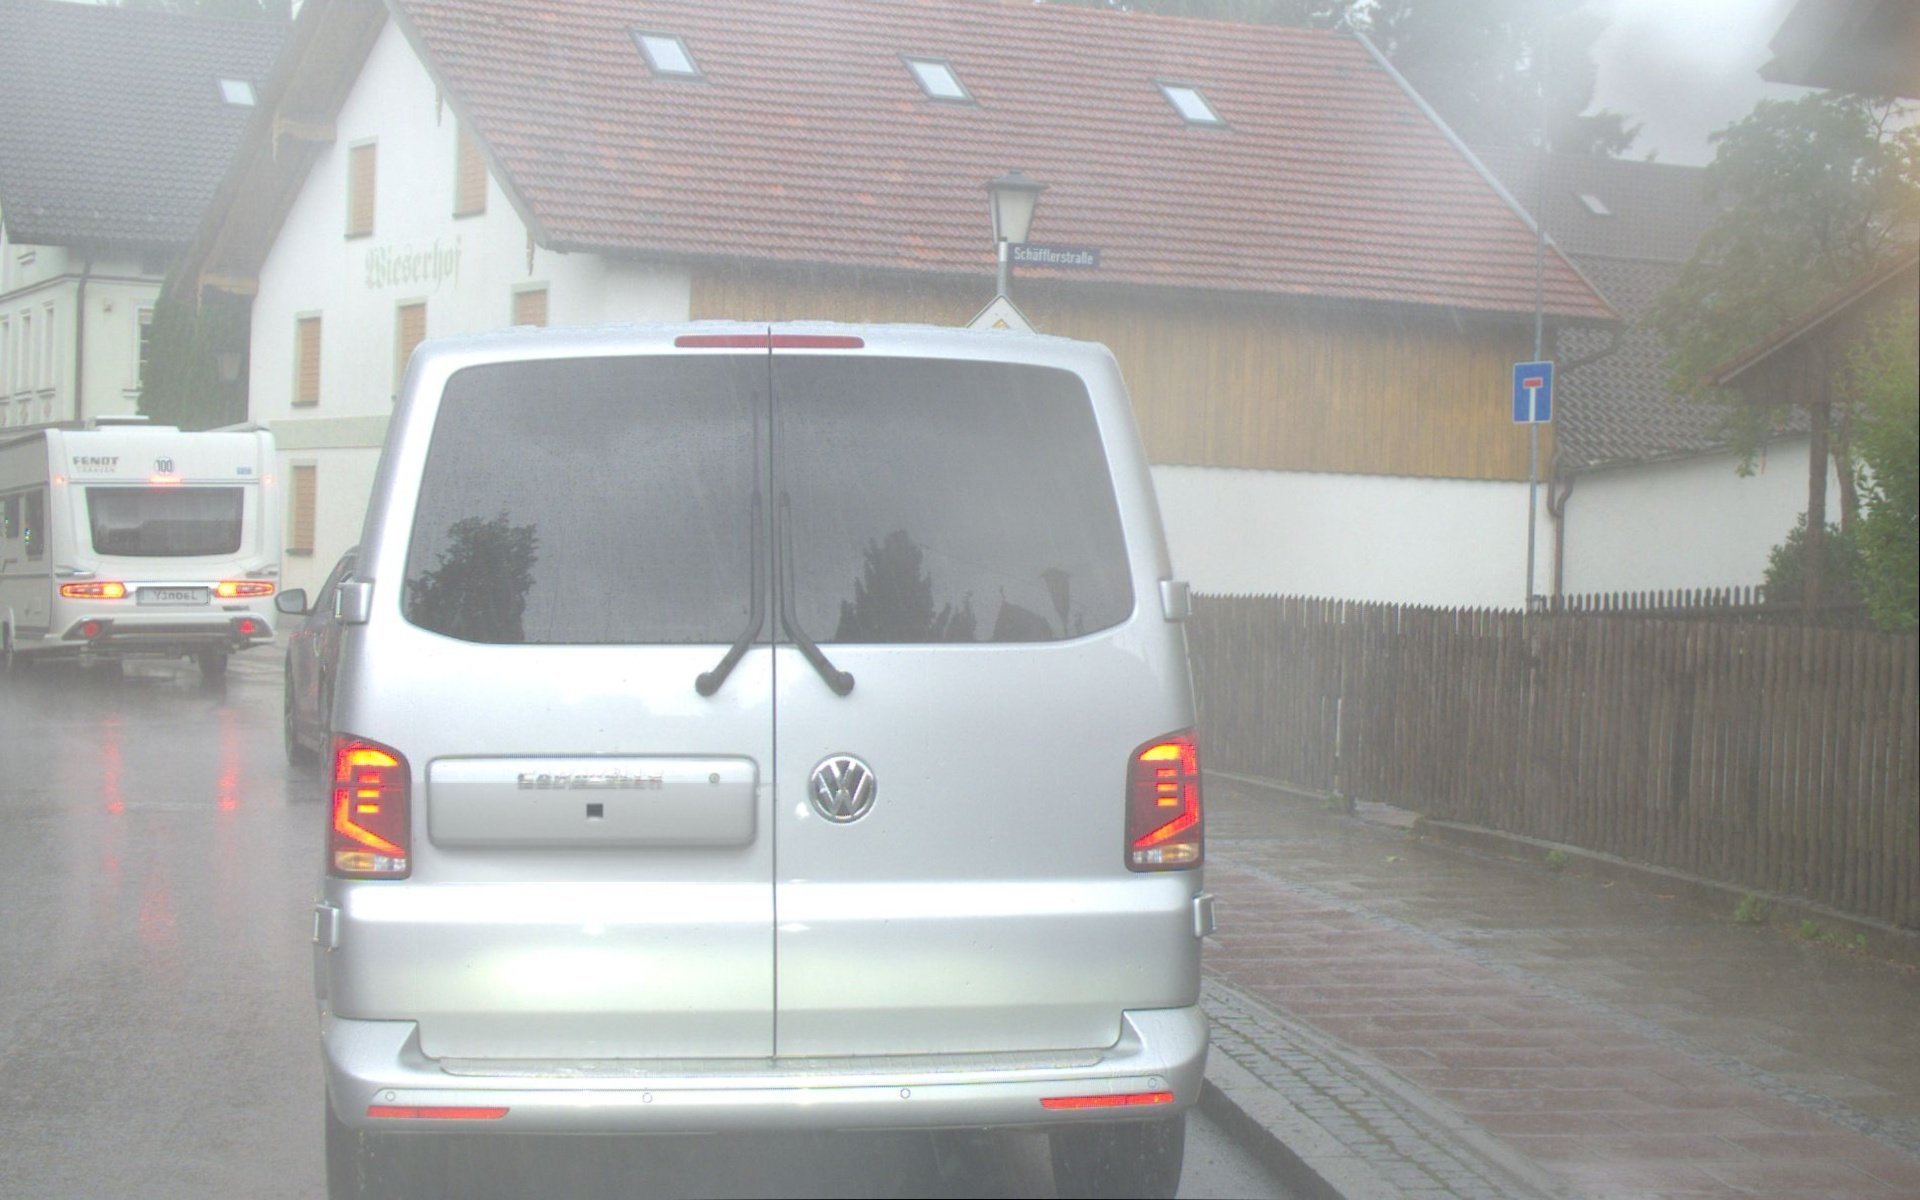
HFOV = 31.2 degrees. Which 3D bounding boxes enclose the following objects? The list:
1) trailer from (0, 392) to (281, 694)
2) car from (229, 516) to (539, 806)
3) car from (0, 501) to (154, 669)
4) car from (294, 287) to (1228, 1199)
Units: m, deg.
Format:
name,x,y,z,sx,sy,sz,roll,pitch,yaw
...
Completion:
name,x,y,z,sx,sy,sz,roll,pitch,yaw
trailer,-8.954,-0.598,36.260,2.270,2.894,6.134,0,1,-23
car,-3.751,0.286,21.882,1.708,1.578,4.687,-1,2,-12
car,-11.225,-0.213,41.459,2.053,1.892,5.177,0,1,-23
car,-0.499,0.349,9.092,1.776,1.956,5.075,0,1,-3
